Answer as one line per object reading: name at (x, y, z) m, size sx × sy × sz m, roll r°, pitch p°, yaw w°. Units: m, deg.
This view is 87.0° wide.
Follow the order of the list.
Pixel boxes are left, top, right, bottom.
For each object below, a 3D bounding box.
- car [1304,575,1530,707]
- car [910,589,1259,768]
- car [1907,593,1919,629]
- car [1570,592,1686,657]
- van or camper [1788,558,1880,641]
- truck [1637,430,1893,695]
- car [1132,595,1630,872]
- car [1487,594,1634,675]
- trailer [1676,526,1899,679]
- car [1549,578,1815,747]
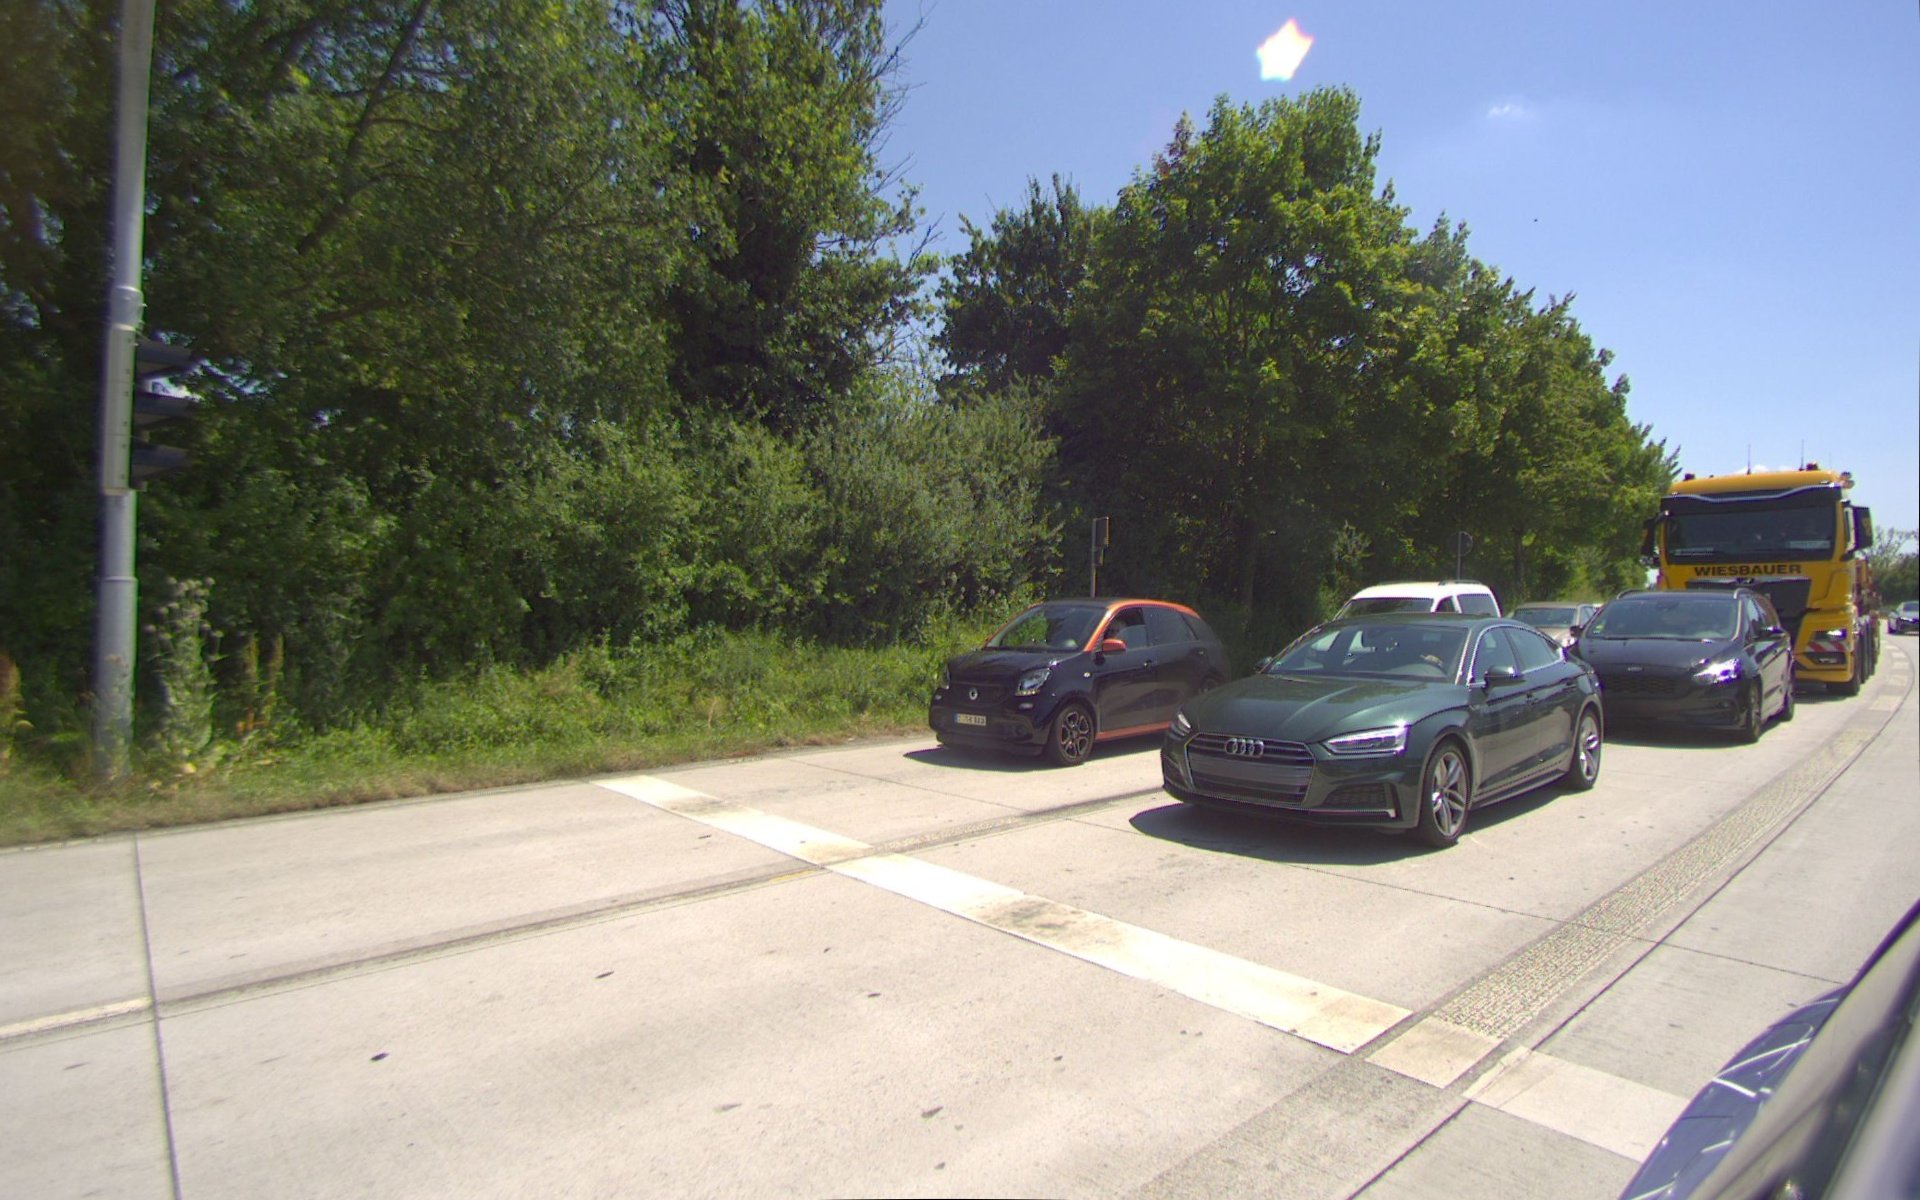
car at (7.517, 0.537, 16.385) m, size 4.714 × 1.830 × 1.768 m, roll -1°, pitch 1°, yaw -45°
car at (1.409, 0.659, 10.615) m, size 3.591 × 1.528 × 1.769 m, roll -1°, pitch 1°, yaw -44°
car at (42.194, 0.451, 43.654) m, size 1.884 × 1.482 × 3.940 m, roll 0°, pitch 1°, yaw 42°
car at (16.927, 0.548, 25.552) m, size 1.767 × 1.480 × 4.527 m, roll 0°, pitch 0°, yaw 43°
van or camper at (29.850, -0.052, 34.484) m, size 2.063 × 2.606 × 5.814 m, roll 0°, pitch 1°, yaw 44°
truck at (14.767, -0.580, 18.316) m, size 3.013 × 3.820 × 7.353 m, roll 0°, pitch 0°, yaw 43°
car at (3.378, 0.696, 7.583) m, size 4.533 × 1.428 × 1.769 m, roll -1°, pitch 1°, yaw -43°
car at (12.664, 0.638, 21.219) m, size 1.767 × 1.480 × 4.296 m, roll 0°, pitch 1°, yaw 43°
trailer at (20.419, 0.008, 24.327) m, size 3.027 × 2.626 × 16.100 m, roll 0°, pitch 0°, yaw 43°
car at (8.821, 0.582, 12.193) m, size 4.570 × 1.660 × 1.785 m, roll -1°, pitch 1°, yaw -44°
